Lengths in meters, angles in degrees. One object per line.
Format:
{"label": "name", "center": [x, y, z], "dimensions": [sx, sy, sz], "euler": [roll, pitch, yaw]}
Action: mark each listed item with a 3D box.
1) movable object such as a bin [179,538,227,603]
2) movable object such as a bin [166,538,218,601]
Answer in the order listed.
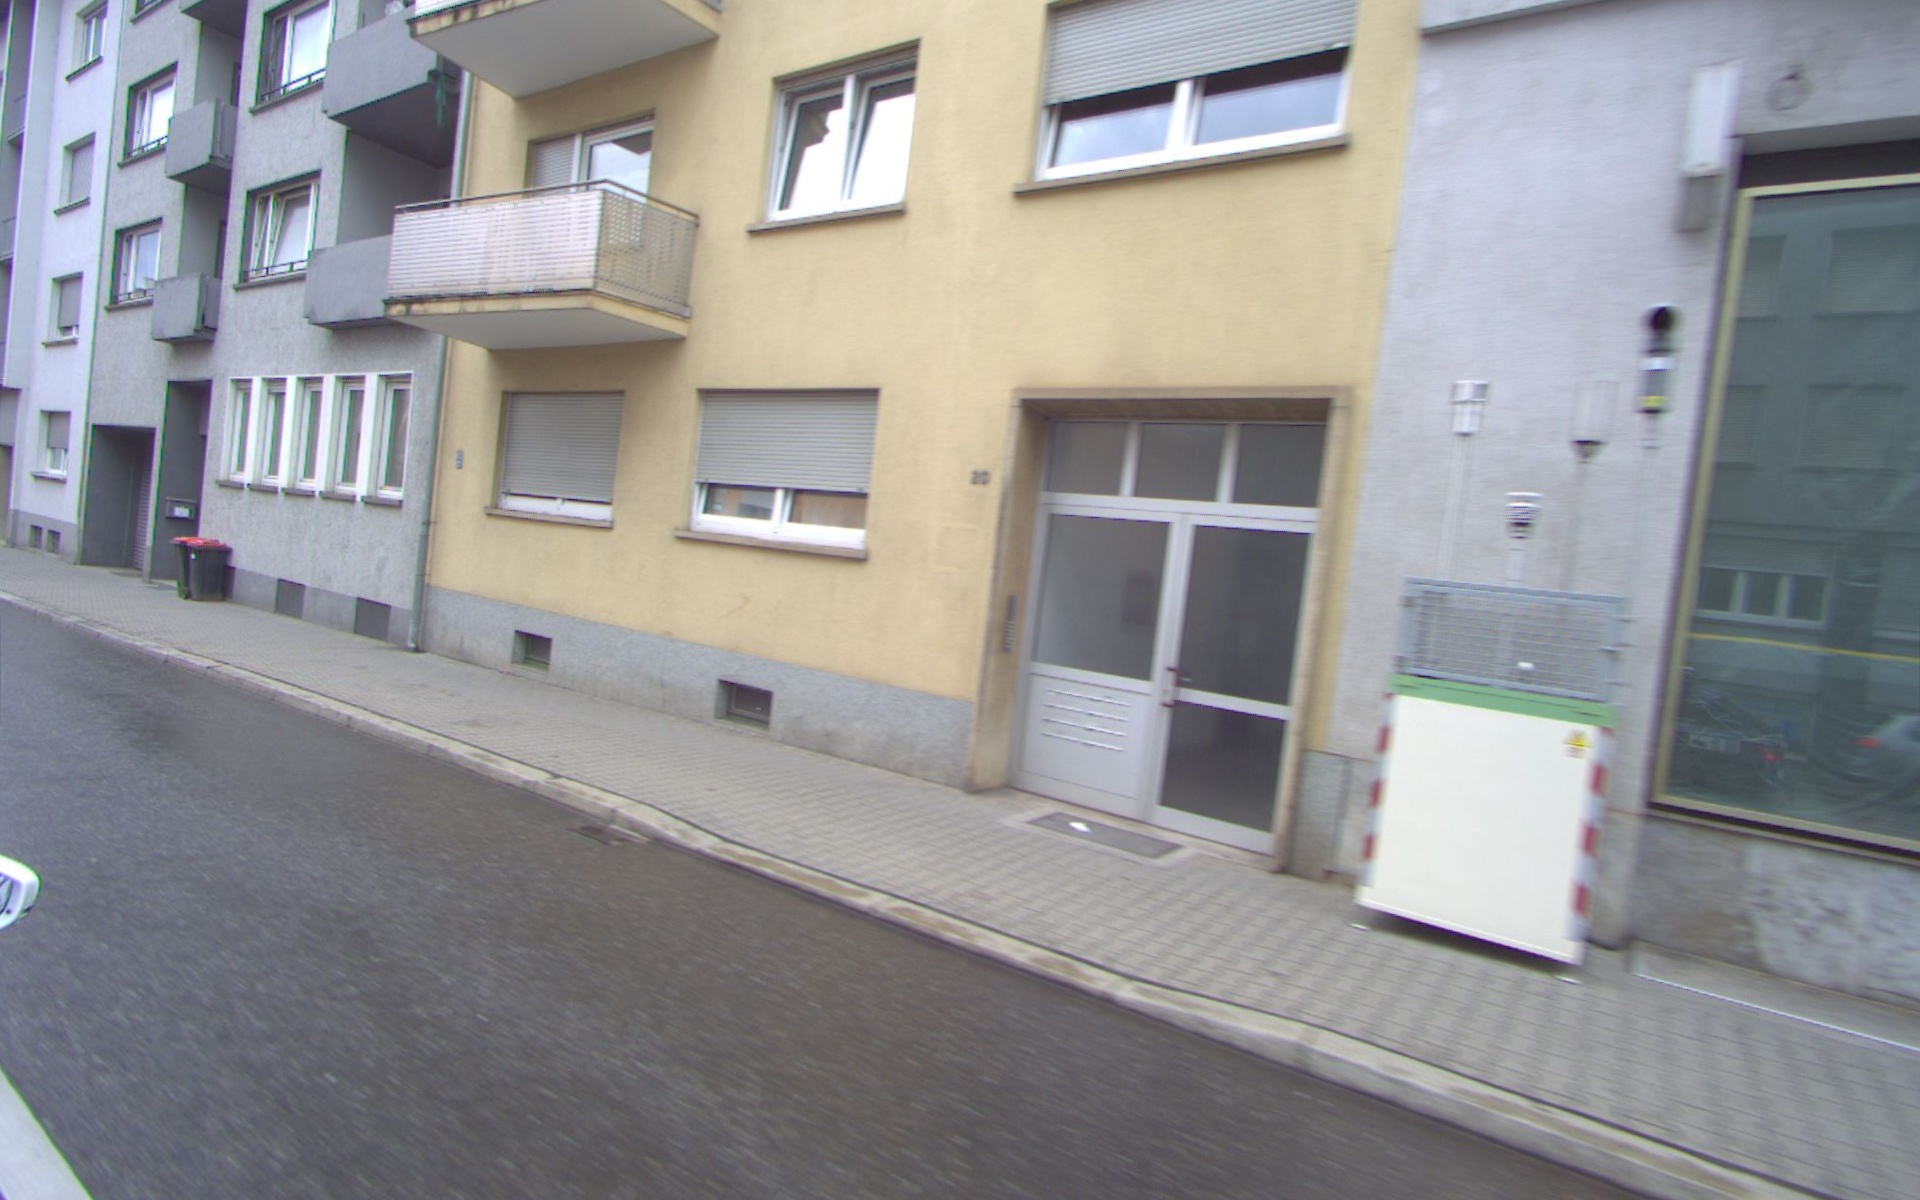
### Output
{"label": "movable object such as a bin", "center": [-12.061, -0.463, 16.029], "dimensions": [0.555, 0.976, 0.472], "euler": [8, 5, 36]}
{"label": "movable object such as a bin", "center": [-12.485, -0.494, 16.356], "dimensions": [0.467, 0.976, 0.561], "euler": [8, 5, 37]}
